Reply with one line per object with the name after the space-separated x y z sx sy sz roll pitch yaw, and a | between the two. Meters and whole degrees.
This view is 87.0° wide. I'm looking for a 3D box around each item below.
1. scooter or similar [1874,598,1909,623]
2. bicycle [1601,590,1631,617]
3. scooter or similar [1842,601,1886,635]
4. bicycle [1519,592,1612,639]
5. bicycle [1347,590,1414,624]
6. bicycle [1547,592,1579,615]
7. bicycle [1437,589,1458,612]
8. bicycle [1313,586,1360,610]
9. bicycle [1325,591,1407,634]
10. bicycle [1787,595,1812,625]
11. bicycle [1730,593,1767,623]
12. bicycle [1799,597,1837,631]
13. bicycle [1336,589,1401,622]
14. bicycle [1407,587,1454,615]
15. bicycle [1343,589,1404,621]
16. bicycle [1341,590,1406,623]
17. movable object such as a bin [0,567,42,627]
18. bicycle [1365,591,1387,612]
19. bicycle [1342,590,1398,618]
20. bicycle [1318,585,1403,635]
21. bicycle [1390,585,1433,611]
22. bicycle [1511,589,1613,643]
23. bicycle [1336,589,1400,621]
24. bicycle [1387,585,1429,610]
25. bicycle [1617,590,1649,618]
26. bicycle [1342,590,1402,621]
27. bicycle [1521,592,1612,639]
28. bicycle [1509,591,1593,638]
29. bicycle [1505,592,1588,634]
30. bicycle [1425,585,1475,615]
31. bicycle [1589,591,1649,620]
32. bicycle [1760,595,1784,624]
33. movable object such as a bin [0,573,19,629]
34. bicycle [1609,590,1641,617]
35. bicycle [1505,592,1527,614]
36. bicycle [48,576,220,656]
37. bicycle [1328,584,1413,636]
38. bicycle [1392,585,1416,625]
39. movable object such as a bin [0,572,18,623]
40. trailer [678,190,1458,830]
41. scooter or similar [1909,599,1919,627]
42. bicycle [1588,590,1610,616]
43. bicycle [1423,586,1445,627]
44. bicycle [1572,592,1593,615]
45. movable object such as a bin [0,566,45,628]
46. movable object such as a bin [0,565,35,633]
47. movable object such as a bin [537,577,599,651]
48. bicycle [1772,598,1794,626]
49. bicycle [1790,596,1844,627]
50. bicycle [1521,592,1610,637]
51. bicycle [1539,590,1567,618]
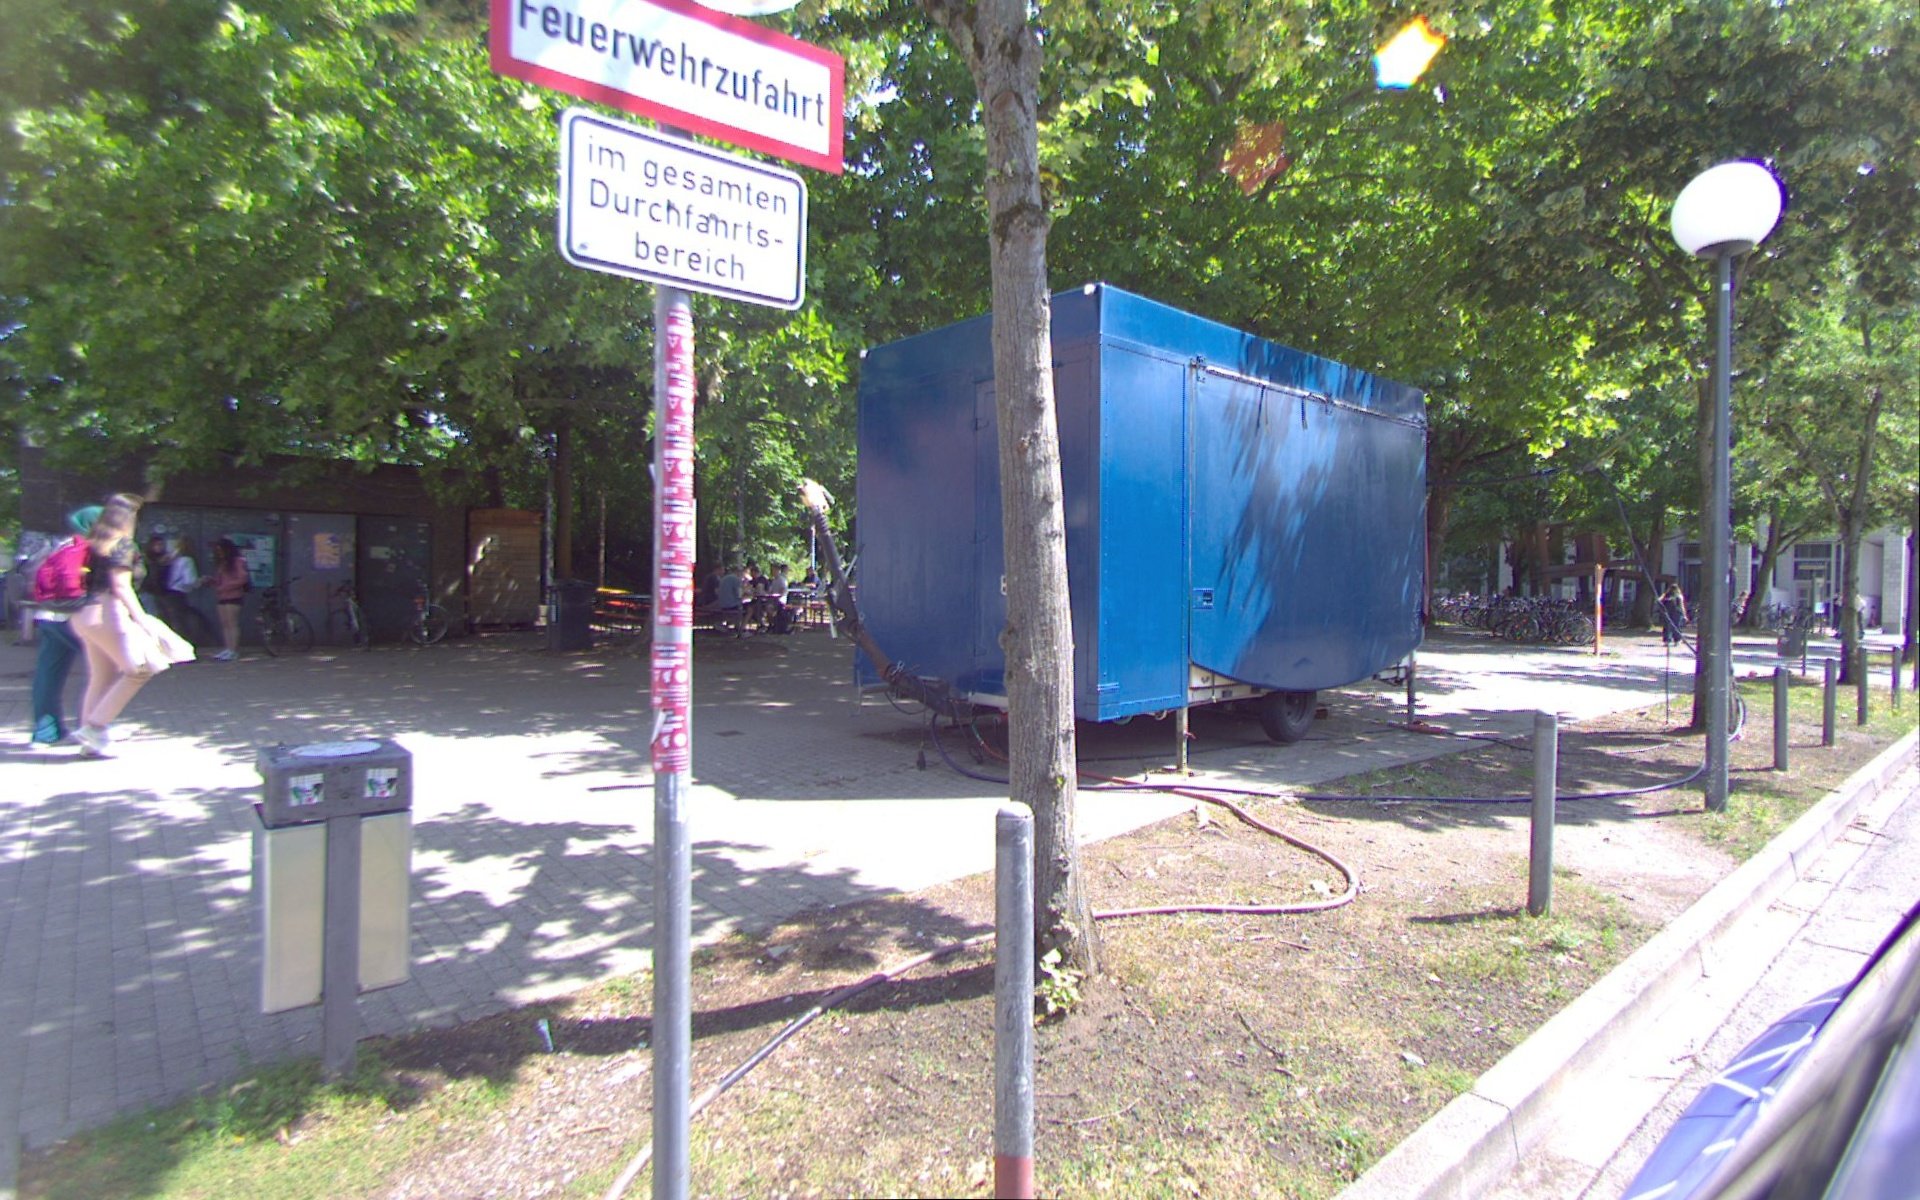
48.037 0.536 52.194 0.555 1.226 1.508 0 2 8 | scooter or similar
30.024 0.157 46.289 1.666 1.165 0.627 2 1 -40 | bicycle
31.676 0.623 35.465 1.333 1.128 0.498 2 0 -17 | scooter or similar
15.184 0.370 25.414 1.939 1.096 0.399 2 1 38 | bicycle
13.259 0.219 31.922 1.868 0.991 0.478 2 1 1 | bicycle
28.501 0.178 47.815 1.663 1.061 0.618 1 -2 -34 | bicycle
24.911 0.017 51.683 0.453 1.144 1.661 -2 -2 43 | bicycle
16.743 -0.081 45.033 1.874 0.991 0.477 2 1 11 | bicycle
10.526 0.309 26.258 1.886 0.991 0.607 3 2 28 | bicycle
34.195 0.399 41.212 1.465 1.155 0.560 -1 3 -44 | bicycle
33.075 0.346 42.442 1.494 1.155 0.493 3 1 -22 | bicycle
30.532 0.495 36.033 0.622 1.097 1.674 -1 2 25 | bicycle
13.361 0.184 33.103 1.872 0.991 0.477 2 1 9 | bicycle
21.300 0.040 45.836 1.818 1.185 0.434 2 0 14 | bicycle
14.221 0.163 34.805 1.879 0.991 0.476 2 2 19 | bicycle
13.266 0.200 32.497 1.868 0.991 0.478 2 1 1 | bicycle
-21.752 -0.067 23.387 0.754 1.337 0.783 2 -1 -41 | movable object such as a bin
22.488 0.071 54.693 0.477 1.098 1.661 -2 -2 44 | bicycle
15.432 0.144 38.125 1.879 0.991 0.376 2 2 19 | bicycle
9.959 0.238 25.197 1.886 1.132 0.607 3 2 28 | bicycle
21.908 -0.097 49.078 1.815 1.185 0.412 2 0 10 | bicycle
14.322 0.367 24.103 2.010 1.181 0.643 2 1 38 | bicycle
13.545 0.156 33.608 1.872 0.991 0.478 2 1 8 | bicycle
22.019 -0.125 49.787 1.815 1.185 0.412 2 0 10 | bicycle
30.348 0.181 45.628 1.664 1.139 0.628 2 1 -36 | bicycle
14.676 0.191 36.074 1.873 0.991 0.477 2 1 10 | bicycle
15.428 0.378 25.763 1.939 1.096 0.399 2 1 38 | bicycle
14.748 0.350 25.283 1.763 1.096 0.432 2 1 38 | bicycle
15.941 0.353 27.536 1.894 1.073 0.322 2 1 26 | bicycle
20.681 -0.001 42.732 1.815 1.185 0.412 2 0 10 | bicycle
26.572 0.214 40.825 1.895 1.123 0.630 1 2 13 | bicycle
33.775 0.393 42.080 1.465 1.155 0.560 2 1 -44 | bicycle
-23.376 0.025 24.540 0.754 1.337 0.783 2 -1 -41 | movable object such as a bin
28.767 0.167 43.757 1.792 1.091 0.464 3 1 -34 | bicycle
27.076 0.151 49.268 0.499 1.061 1.661 -2 -2 43 | bicycle
-12.556 0.222 15.441 1.991 1.154 0.574 0 0 -42 | bicycle
9.741 0.218 24.013 1.792 1.132 0.607 3 2 28 | bicycle
12.994 0.129 29.600 0.474 1.096 1.885 2 2 28 | bicycle
-25.594 -0.068 26.892 0.754 1.337 0.783 2 -1 -41 | movable object such as a bin
1.262 -0.490 7.986 6.151 3.089 2.696 0 2 -43 | trailer
43.472 0.583 45.828 1.485 1.226 0.564 0 4 -43 | scooter or similar
29.541 0.156 46.770 0.625 1.165 1.671 -2 -2 40 | bicycle
13.749 0.170 29.334 0.474 1.096 1.885 2 2 28 | bicycle
29.058 0.168 47.225 0.566 1.061 1.671 -2 -2 41 | bicycle
-20.739 -0.069 22.333 0.754 1.337 0.783 2 -1 -41 | movable object such as a bin
-19.062 -0.030 20.256 0.754 1.337 0.783 2 -1 -41 | movable object such as a bin
-6.052 0.202 15.622 0.729 1.084 0.600 -2 2 -41 | movable object such as a bin
38.757 0.563 47.661 1.799 1.257 0.531 -1 2 -43 | bicycle
34.065 0.465 40.231 1.749 1.155 0.607 1 2 -8 | bicycle
15.767 0.360 26.382 1.939 1.096 0.399 2 1 38 | bicycle
24.577 0.150 41.977 0.468 1.123 1.665 1 2 12 | bicycle
